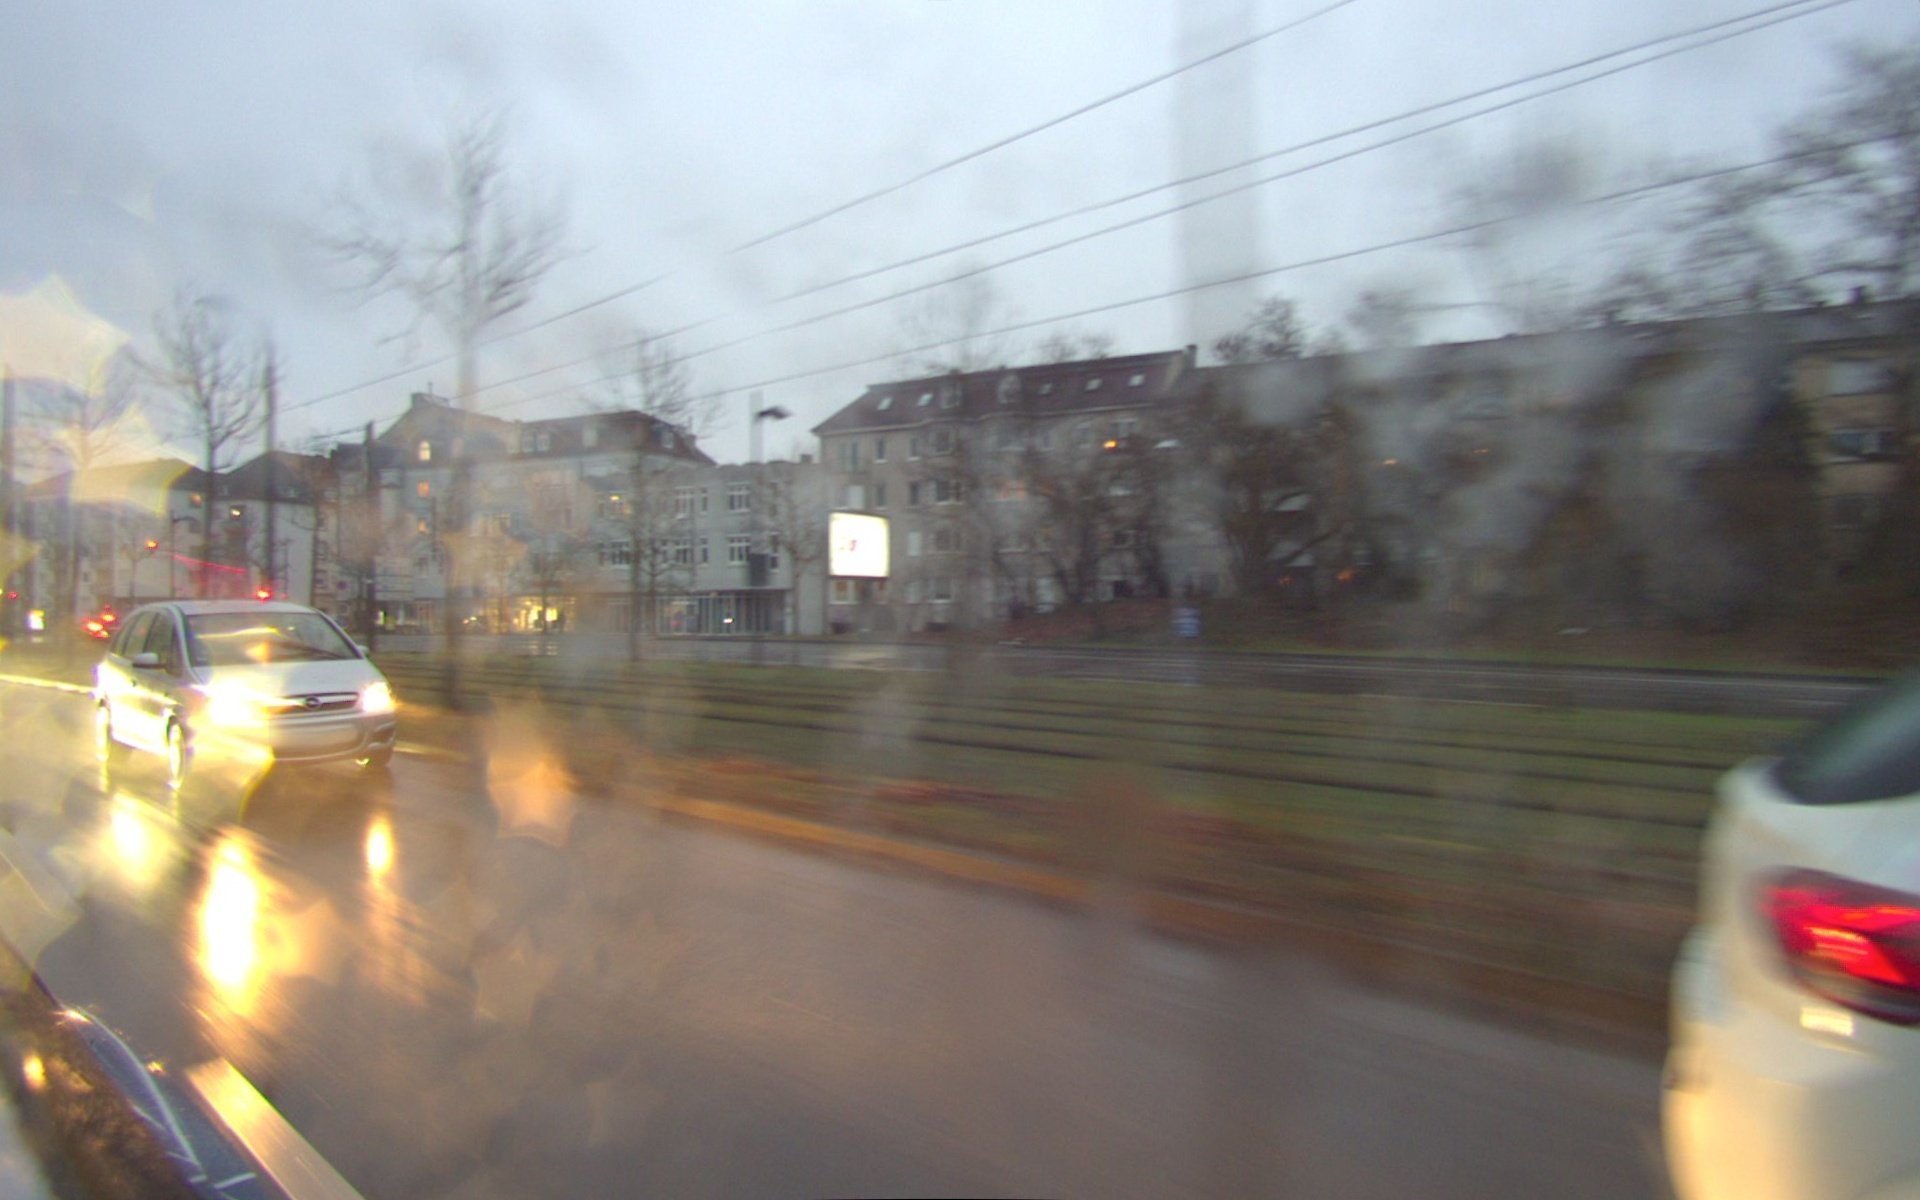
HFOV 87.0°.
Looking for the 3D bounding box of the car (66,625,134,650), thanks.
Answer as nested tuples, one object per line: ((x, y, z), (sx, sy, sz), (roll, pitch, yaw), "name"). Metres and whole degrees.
((-49.771, 2.150, 58.575), (4.276, 1.365, 1.877), (-1, -1, 33), "car")

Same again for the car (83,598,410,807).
((-6.883, 0.812, 9.618), (3.920, 1.587, 1.648), (-1, -1, 41), "car")

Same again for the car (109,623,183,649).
((-44.462, 1.953, 55.241), (4.275, 1.365, 1.877), (-1, -1, 32), "car")

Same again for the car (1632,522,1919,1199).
((3.121, 0.649, 0.782), (4.134, 1.536, 1.690), (-1, -1, 42), "car")
